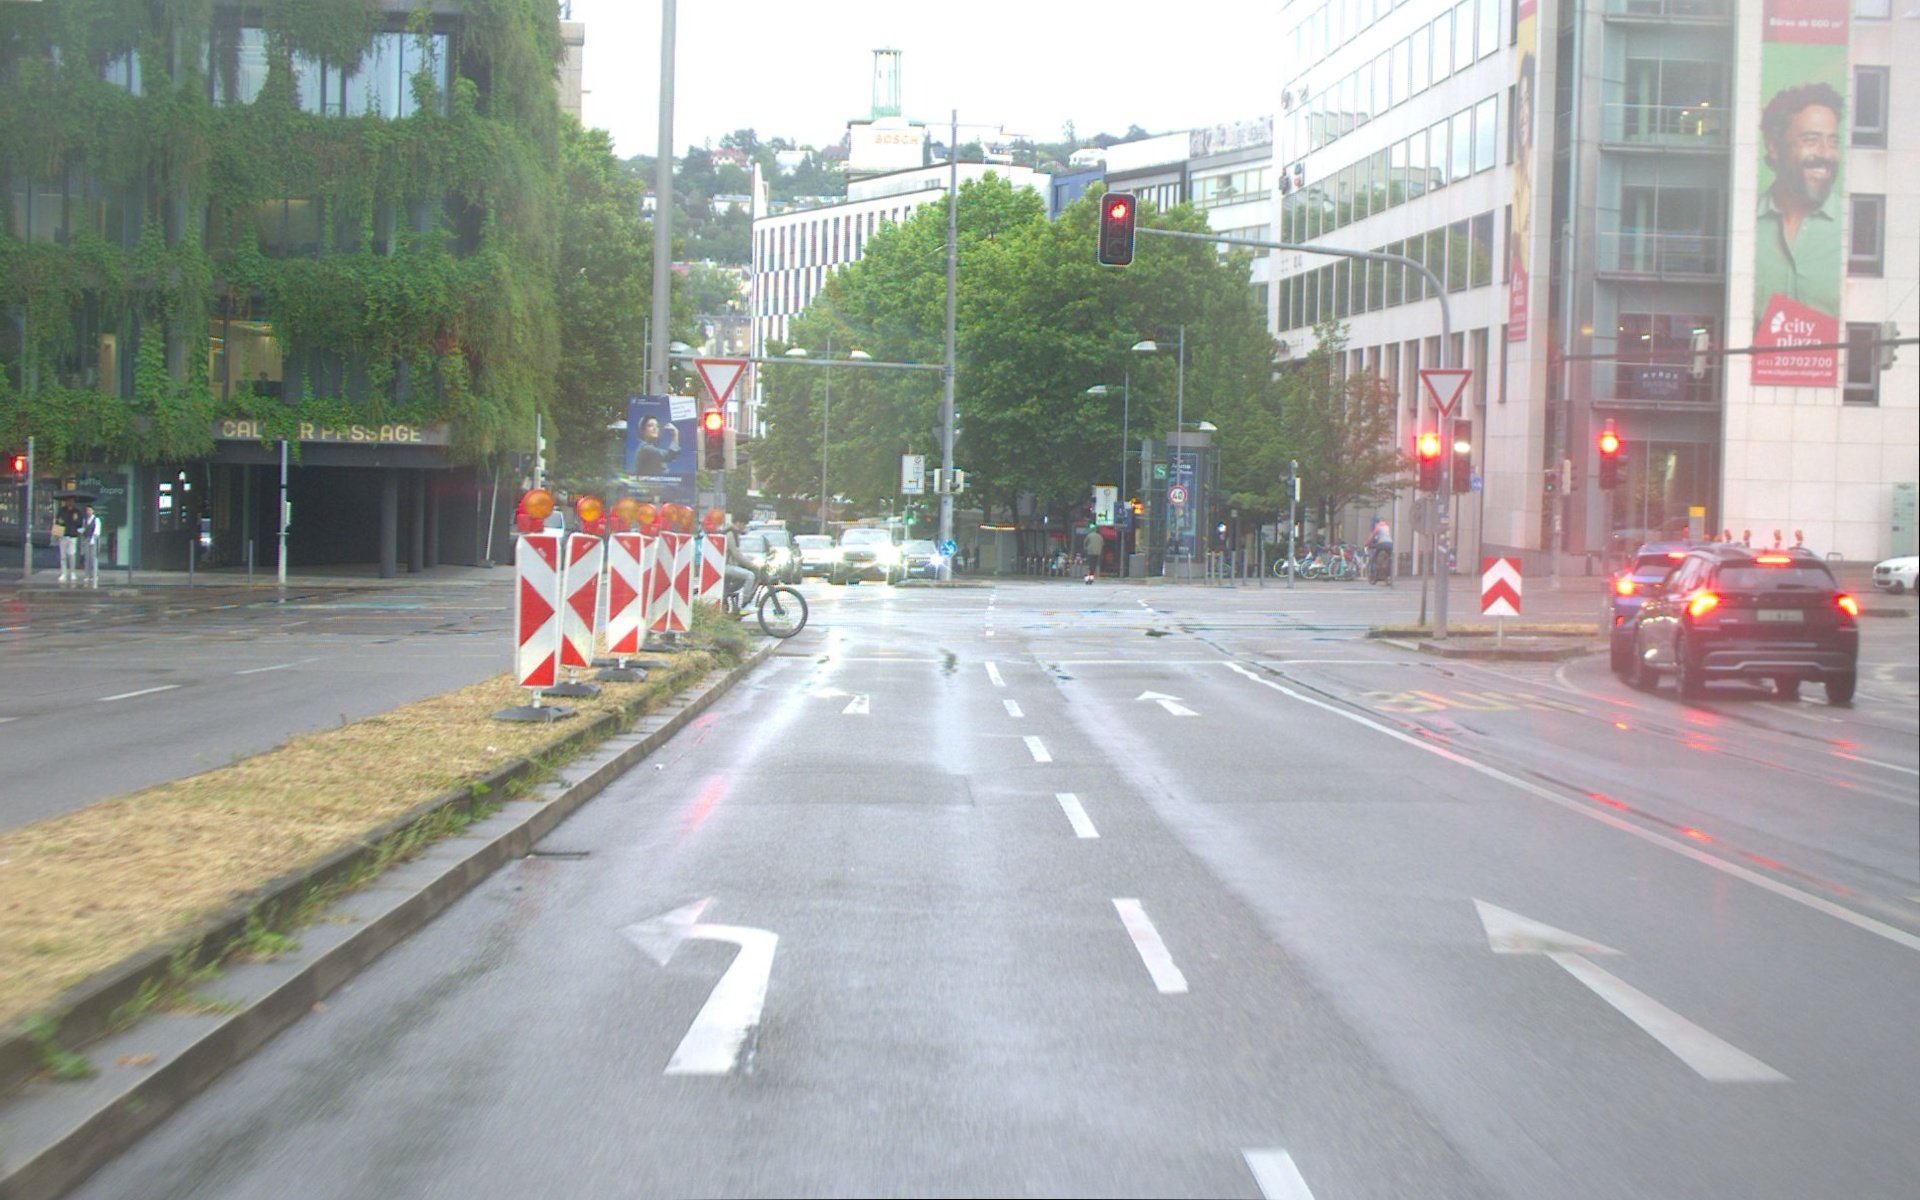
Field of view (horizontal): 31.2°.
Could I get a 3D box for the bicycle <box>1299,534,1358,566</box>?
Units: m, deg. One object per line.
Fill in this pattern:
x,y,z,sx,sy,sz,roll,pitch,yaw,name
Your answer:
11.016,-1.491,102.897,1.799,0.931,0.474,2,2,41,bicycle

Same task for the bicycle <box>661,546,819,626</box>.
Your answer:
-3.113,-0.207,48.803,2.146,1.099,0.848,-1,2,-41,bicycle

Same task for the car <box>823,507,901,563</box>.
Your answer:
-2.788,-1.847,96.865,1.993,1.545,4.557,0,1,-4,car

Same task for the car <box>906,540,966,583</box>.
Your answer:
-0.901,-1.427,127.479,1.993,1.438,4.557,0,3,-4,car

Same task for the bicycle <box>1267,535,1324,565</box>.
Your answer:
10.882,-1.623,111.427,1.794,0.931,0.475,1,1,3,bicycle

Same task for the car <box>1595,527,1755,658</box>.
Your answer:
8.969,-0.133,42.908,1.704,1.524,4.424,1,1,15,car

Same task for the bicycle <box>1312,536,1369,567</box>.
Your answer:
11.642,-1.494,105.248,1.799,0.931,0.474,2,2,41,bicycle

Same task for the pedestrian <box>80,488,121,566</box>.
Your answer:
-19.399,-1.650,77.569,0.741,1.752,0.976,0,1,-24,pedestrian

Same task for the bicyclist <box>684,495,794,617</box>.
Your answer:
-3.136,-0.625,48.732,1.295,1.698,0.848,-1,2,-41,bicyclist

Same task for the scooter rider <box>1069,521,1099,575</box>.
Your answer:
4.037,-1.691,112.150,0.762,1.768,0.796,0,1,-16,scooter rider

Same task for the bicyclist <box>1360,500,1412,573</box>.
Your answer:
11.606,-1.727,93.673,0.791,1.968,1.114,0,1,-41,bicyclist

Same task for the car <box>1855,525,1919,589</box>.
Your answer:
25.407,-1.081,87.887,4.449,1.592,2.001,0,1,-15,car

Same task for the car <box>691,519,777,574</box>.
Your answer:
-6.384,-1.532,96.804,1.856,1.443,4.622,0,2,-11,car

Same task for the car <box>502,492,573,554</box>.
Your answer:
-13.126,-2.400,107.055,1.993,1.888,4.466,1,1,-5,car

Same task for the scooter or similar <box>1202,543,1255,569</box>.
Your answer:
9.258,-1.517,118.604,1.745,0.875,0.489,0,1,-19,scooter or similar

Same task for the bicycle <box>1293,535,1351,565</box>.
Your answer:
11.527,-1.582,109.576,1.794,0.931,0.475,1,1,3,bicycle

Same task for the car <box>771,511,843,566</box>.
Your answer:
-5.248,-2.117,117.452,2.174,1.817,4.645,0,1,-6,car

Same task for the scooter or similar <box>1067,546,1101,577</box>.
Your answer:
4.043,-1.267,112.160,0.556,1.003,1.824,0,1,-16,scooter or similar

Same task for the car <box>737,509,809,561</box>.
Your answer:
-5.625,-1.968,103.088,1.856,1.443,4.622,0,2,-7,car

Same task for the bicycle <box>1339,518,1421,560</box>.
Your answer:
11.463,-1.664,93.833,0.791,1.113,2.255,0,2,-41,bicycle

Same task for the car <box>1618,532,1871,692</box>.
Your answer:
8.080,0.076,35.745,1.778,1.534,4.147,1,1,2,car

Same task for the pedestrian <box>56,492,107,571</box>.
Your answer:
-19.776,-1.543,77.380,0.935,1.752,1.172,0,1,-24,pedestrian
